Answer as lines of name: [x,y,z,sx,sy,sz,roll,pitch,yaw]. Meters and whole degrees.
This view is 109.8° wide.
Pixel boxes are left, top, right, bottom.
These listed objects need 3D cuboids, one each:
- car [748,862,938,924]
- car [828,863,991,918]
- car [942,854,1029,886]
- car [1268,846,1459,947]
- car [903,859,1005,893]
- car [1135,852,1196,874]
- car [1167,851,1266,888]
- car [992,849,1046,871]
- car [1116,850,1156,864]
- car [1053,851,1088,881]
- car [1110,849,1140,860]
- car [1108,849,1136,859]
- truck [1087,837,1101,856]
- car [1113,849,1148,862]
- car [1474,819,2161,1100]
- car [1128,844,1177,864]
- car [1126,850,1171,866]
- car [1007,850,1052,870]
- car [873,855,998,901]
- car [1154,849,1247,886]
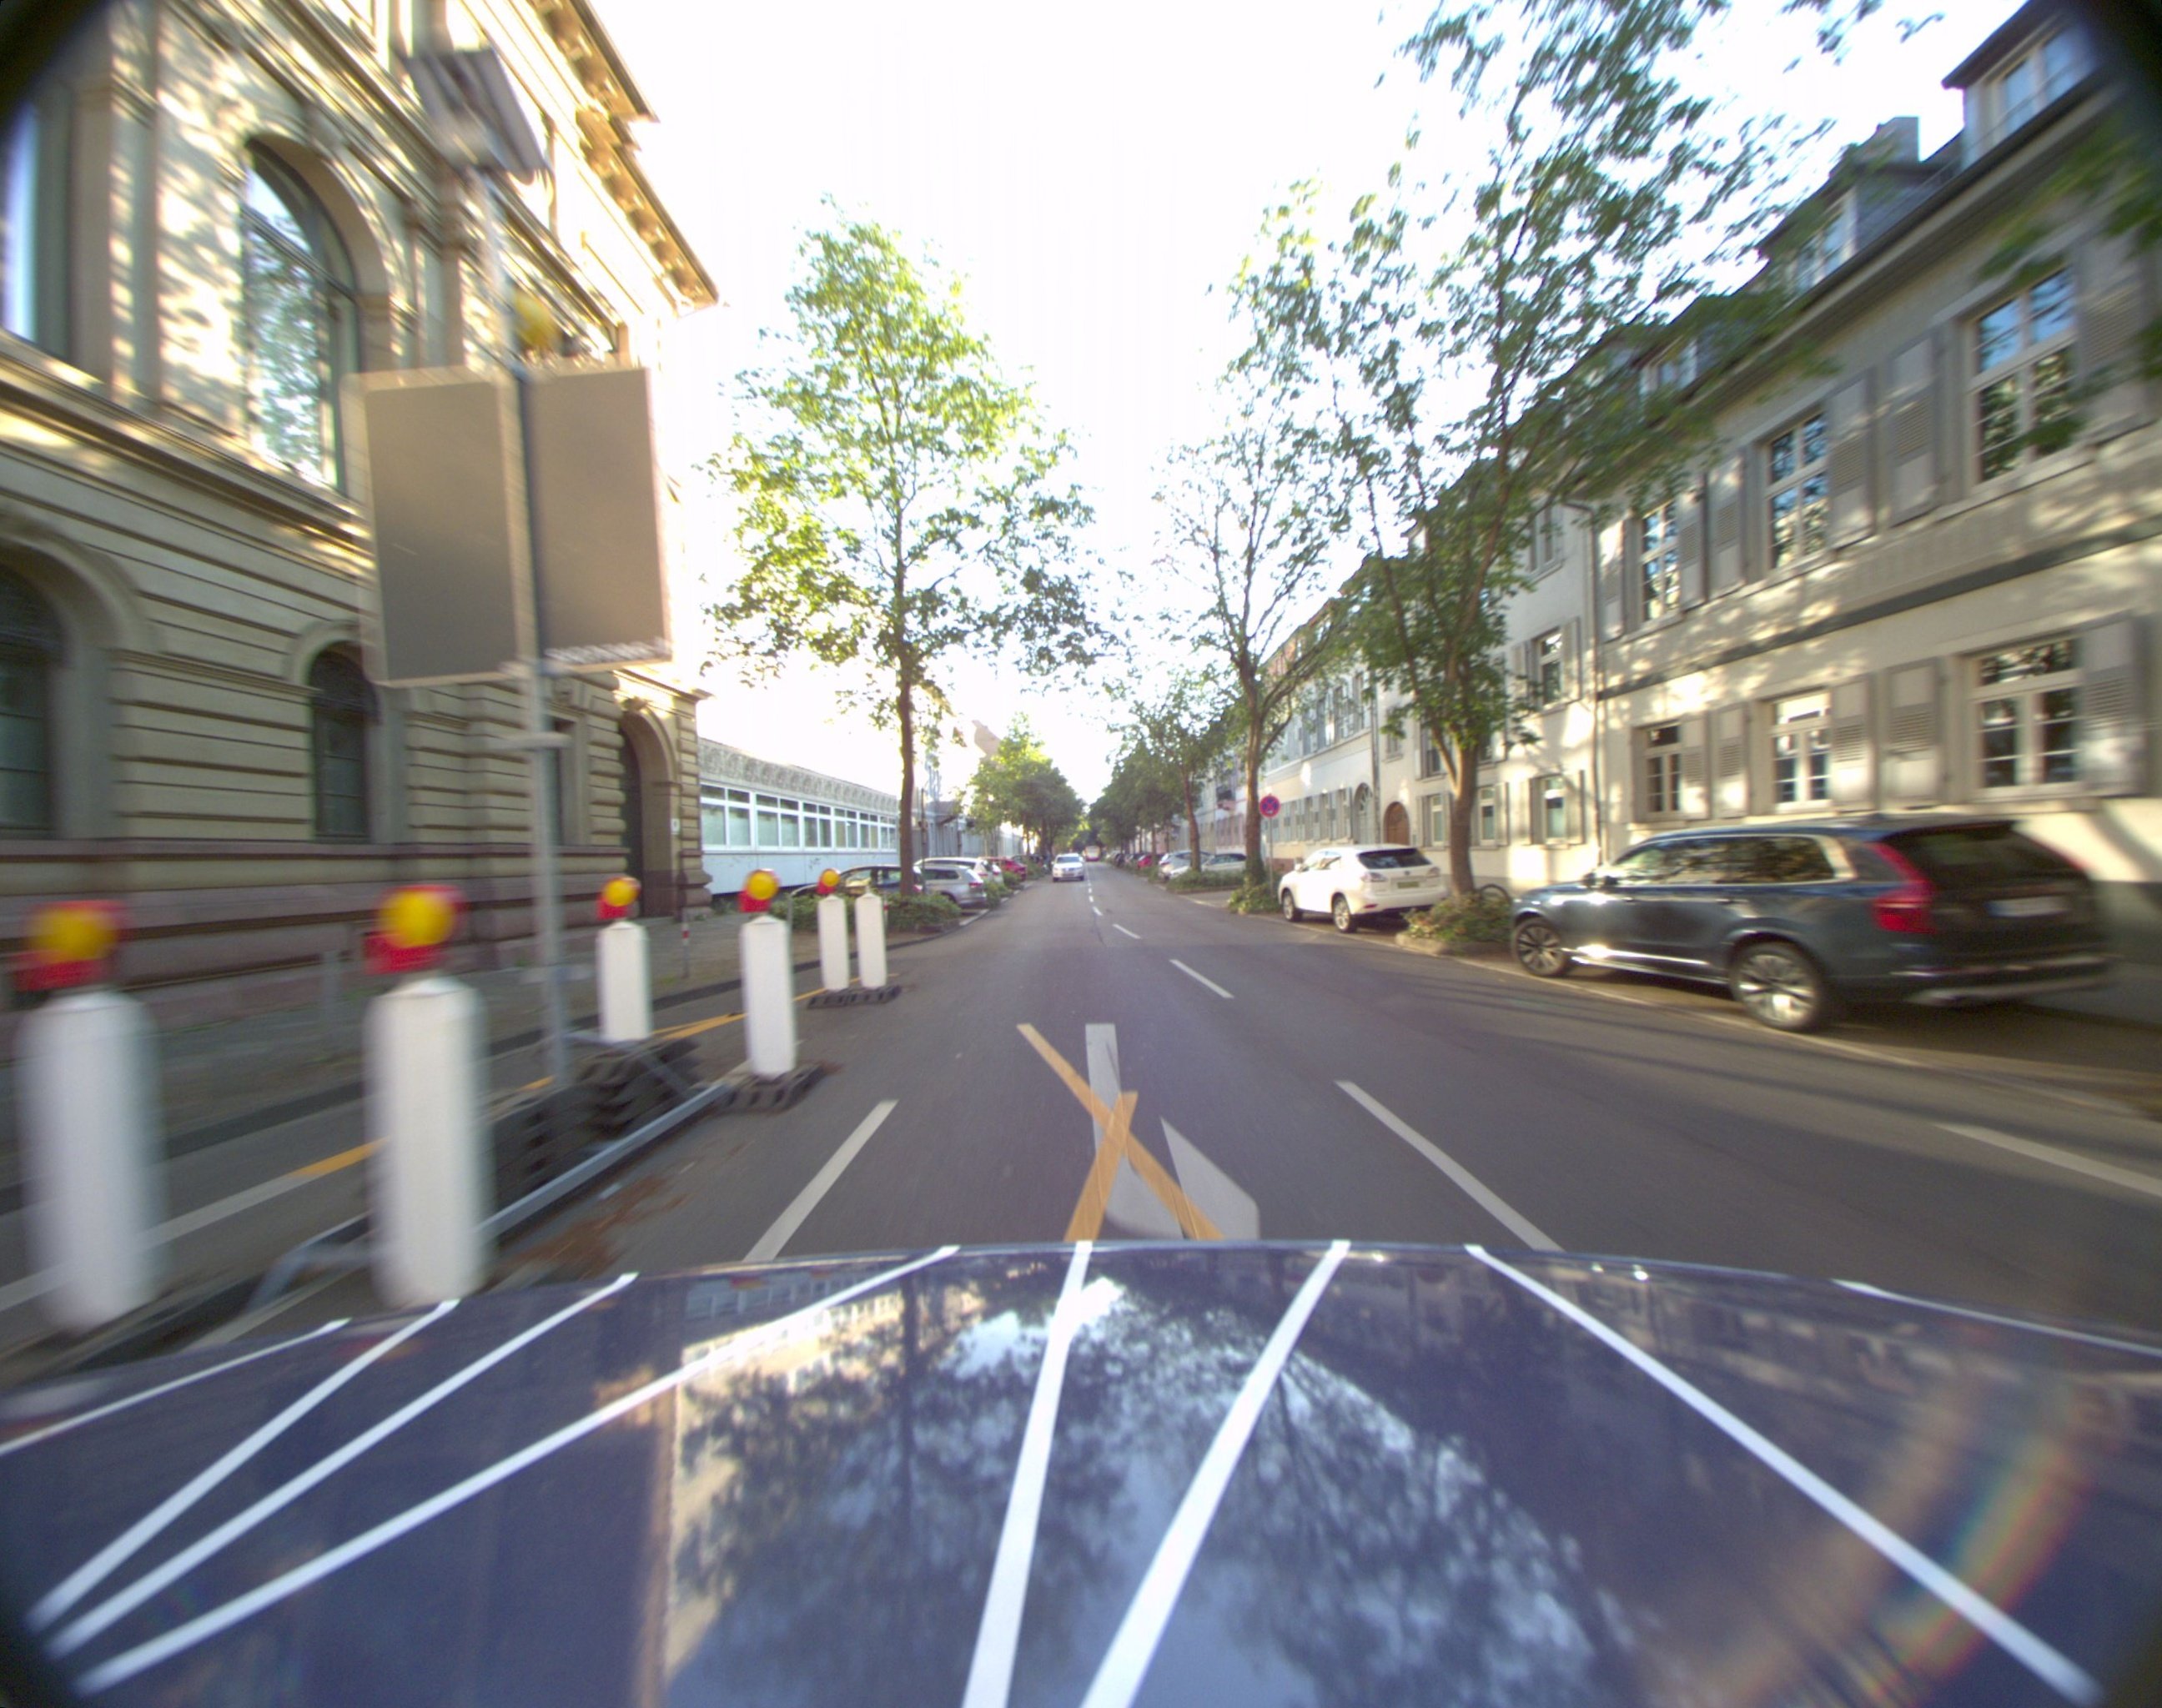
car: [-6.016,0.986,19.626,4.369,1.456,1.833,1,1,-4]
car: [-4.941,1.039,22.252,4.368,1.487,1.672,1,1,0]
car: [-4.945,0.839,39.641,4.369,1.615,1.733,0,1,-2]
car: [5.741,0.763,16.208,1.833,1.658,4.654,-6,1,-6]
car: [-5.703,0.968,34.633,4.369,1.485,1.886,0,1,-2]
car: [6.178,0.641,55.790,4.230,1.499,1.800,-2,1,-2]
car: [6.163,0.675,34.871,4.228,1.536,1.801,-2,1,3]
car: [-5.064,0.479,62.559,4.369,1.768,1.733,0,1,-2]
car: [6.182,0.334,85.470,4.230,1.468,1.853,-2,1,-2]
car: [-0.580,0.700,46.173,1.957,1.667,4.542,-2,0,1]
car: [6.449,0.070,111.936,4.230,1.468,1.969,-2,1,-2]
car: [6.408,0.003,120.414,4.230,1.508,1.969,-2,1,-2]
truck: [2.750,-1.461,157.247,2.748,3.723,7.855,-2,0,2]
car: [6.358,0.187,97.946,4.230,1.468,1.969,-2,1,-2]
car: [6.487,0.702,7.737,1.833,1.749,5.045,-6,1,-6]
car: [6.549,-0.003,70.001,4.230,1.654,1.800,-2,1,-2]
car: [6.616,0.378,74.674,4.230,1.509,1.759,-2,1,-2]
car: [-4.992,0.572,74.200,4.369,1.862,1.733,-1,1,-2]
car: [-5.400,0.887,28.718,4.369,1.633,2.054,1,1,-2]
car: [5.876,0.631,37.607,4.230,1.680,1.800,-2,1,-2]
